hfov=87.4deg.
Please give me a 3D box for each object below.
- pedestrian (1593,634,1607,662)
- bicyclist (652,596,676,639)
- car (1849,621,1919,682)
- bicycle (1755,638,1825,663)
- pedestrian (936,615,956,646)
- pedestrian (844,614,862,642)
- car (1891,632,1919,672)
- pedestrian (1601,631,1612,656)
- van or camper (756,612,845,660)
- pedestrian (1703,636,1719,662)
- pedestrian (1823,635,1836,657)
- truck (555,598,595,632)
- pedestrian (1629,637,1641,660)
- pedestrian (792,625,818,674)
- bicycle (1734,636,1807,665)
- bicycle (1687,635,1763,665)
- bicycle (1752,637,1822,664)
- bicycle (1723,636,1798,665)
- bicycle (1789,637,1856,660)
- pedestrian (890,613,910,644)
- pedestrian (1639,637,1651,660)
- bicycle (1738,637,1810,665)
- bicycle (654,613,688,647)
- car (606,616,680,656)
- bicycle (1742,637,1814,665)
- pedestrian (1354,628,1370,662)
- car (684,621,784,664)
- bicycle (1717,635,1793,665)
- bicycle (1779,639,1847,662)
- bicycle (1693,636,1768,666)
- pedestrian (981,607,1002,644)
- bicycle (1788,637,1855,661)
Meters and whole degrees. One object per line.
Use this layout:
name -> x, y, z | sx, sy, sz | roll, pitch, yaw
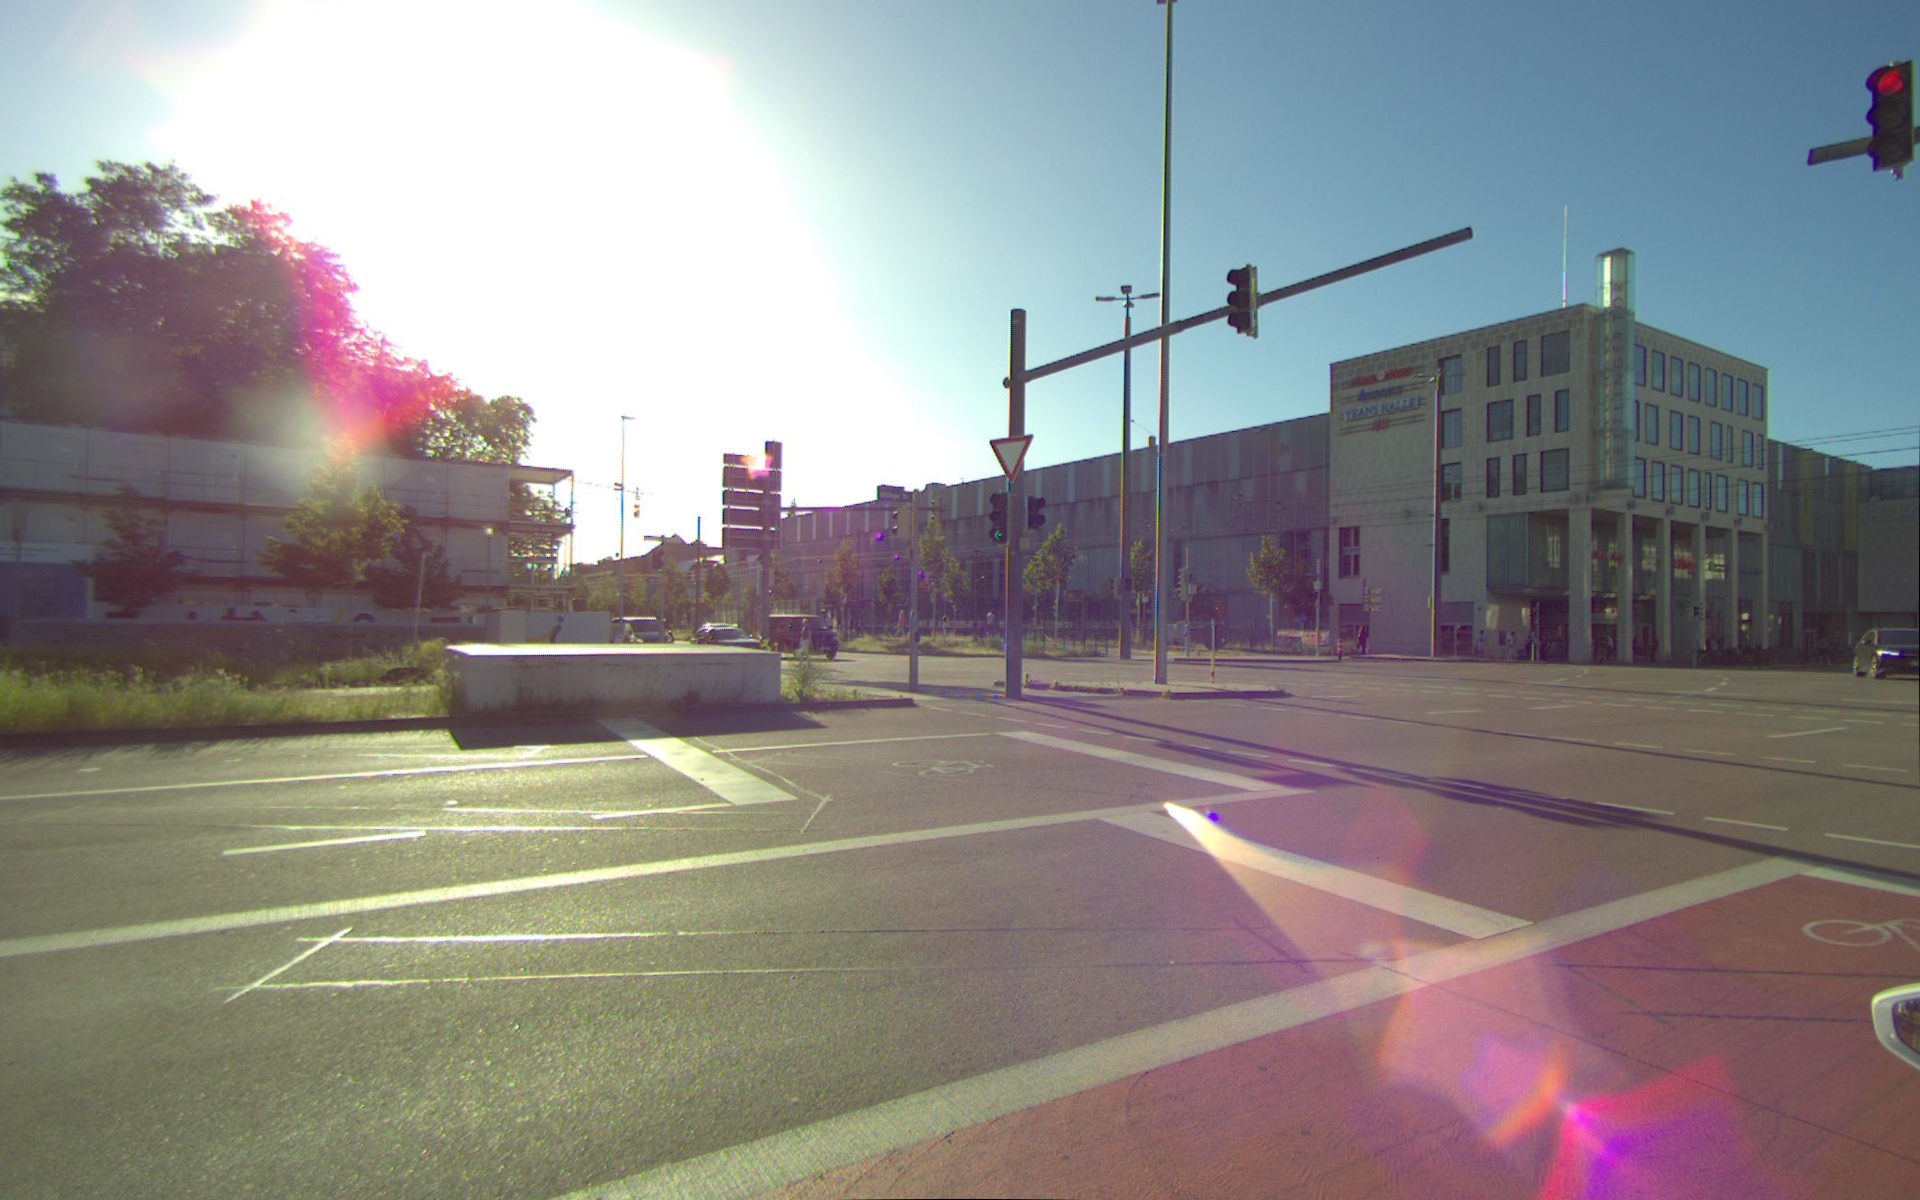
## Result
pedestrian -> 37.814, 2.820, 59.346 | 0.546, 1.664, 0.535 | 1, -2, -44
bicyclist -> -18.706, 1.099, 63.447 | 1.007, 2.677, 1.610 | 1, -1, -34
car -> 28.747, 1.520, 30.720 | 1.969, 1.623, 4.933 | -1, 0, 38
bicycle -> 55.263, 3.325, 66.919 | 0.979, 1.547, 3.462 | 2, -2, -40
pedestrian -> -0.832, 1.808, 59.527 | 0.889, 1.855, 0.787 | 1, -1, -35
pedestrian -> -7.040, 1.828, 65.885 | 0.889, 1.855, 0.787 | 1, -1, -35
car -> 42.685, 2.288, 44.446 | 4.378, 1.682, 1.974 | 2, -3, -45
pedestrian -> 42.179, 2.845, 65.556 | 0.493, 1.606, 0.426 | 1, -1, -34
van or camper -> -7.304, 1.593, 45.615 | 1.981, 2.040, 4.821 | 1, -2, -36
pedestrian -> 50.118, 3.269, 67.033 | 0.776, 1.664, 0.691 | -1, -2, 43
pedestrian -> 67.196, 3.529, 77.594 | 0.689, 1.664, 0.648 | 1, -1, -38
truck -> -33.472, 1.327, 87.250 | 1.979, 2.875, 6.293 | 1, -2, -33
pedestrian -> 44.278, 3.184, 65.918 | 0.508, 1.530, 0.508 | 1, -1, -34
pedestrian -> -5.408, 1.699, 35.008 | 0.619, 1.674, 0.935 | 1, -1, -30
bicycle -> 51.126, 3.187, 63.423 | 0.979, 1.719, 3.462 | 1, -2, -40
bicycle -> 45.705, 2.974, 60.031 | 1.107, 1.719, 3.465 | 1, -2, -38
bicycle -> 54.511, 3.317, 66.251 | 0.979, 1.719, 3.462 | 1, -2, -40
bicycle -> 49.150, 3.076, 61.738 | 1.107, 1.719, 3.465 | 1, -2, -38
bicycle -> 61.195, 3.447, 71.301 | 0.979, 1.547, 3.462 | 2, -2, -40
pedestrian -> -3.619, 1.727, 60.517 | 0.889, 1.855, 0.787 | 1, -1, -35
pedestrian -> 44.971, 3.193, 65.949 | 0.508, 1.530, 0.479 | 1, -1, -34
bicycle -> 51.952, 3.224, 64.157 | 0.979, 1.719, 3.462 | 1, -2, -40
bicycle -> -17.886, 1.818, 62.122 | 1.007, 2.040, 3.472 | 1, -2, -33
car -> -15.569, 1.722, 49.158 | 1.981, 1.849, 4.821 | 1, -2, -36
bicycle -> 52.866, 3.255, 64.961 | 0.979, 1.719, 3.462 | 1, -2, -40
pedestrian -> 20.334, 2.269, 50.783 | 0.542, 1.716, 0.522 | 1, -1, -32
car -> -9.392, 1.705, 41.512 | 2.313, 1.671, 4.821 | 1, -2, -37
bicycle -> 48.221, 3.010, 60.937 | 1.107, 1.719, 3.465 | 1, -2, -38
bicycle -> 58.881, 3.475, 69.388 | 0.979, 1.547, 3.462 | 2, -2, -40
bicycle -> 46.641, 3.062, 60.842 | 1.107, 1.719, 3.465 | 1, -2, -38
pedestrian -> 1.591, 1.284, 50.594 | 0.788, 1.855, 0.706 | 1, -1, -37
bicycle -> 60.388, 3.430, 70.469 | 0.979, 1.547, 3.462 | 2, -2, -40
